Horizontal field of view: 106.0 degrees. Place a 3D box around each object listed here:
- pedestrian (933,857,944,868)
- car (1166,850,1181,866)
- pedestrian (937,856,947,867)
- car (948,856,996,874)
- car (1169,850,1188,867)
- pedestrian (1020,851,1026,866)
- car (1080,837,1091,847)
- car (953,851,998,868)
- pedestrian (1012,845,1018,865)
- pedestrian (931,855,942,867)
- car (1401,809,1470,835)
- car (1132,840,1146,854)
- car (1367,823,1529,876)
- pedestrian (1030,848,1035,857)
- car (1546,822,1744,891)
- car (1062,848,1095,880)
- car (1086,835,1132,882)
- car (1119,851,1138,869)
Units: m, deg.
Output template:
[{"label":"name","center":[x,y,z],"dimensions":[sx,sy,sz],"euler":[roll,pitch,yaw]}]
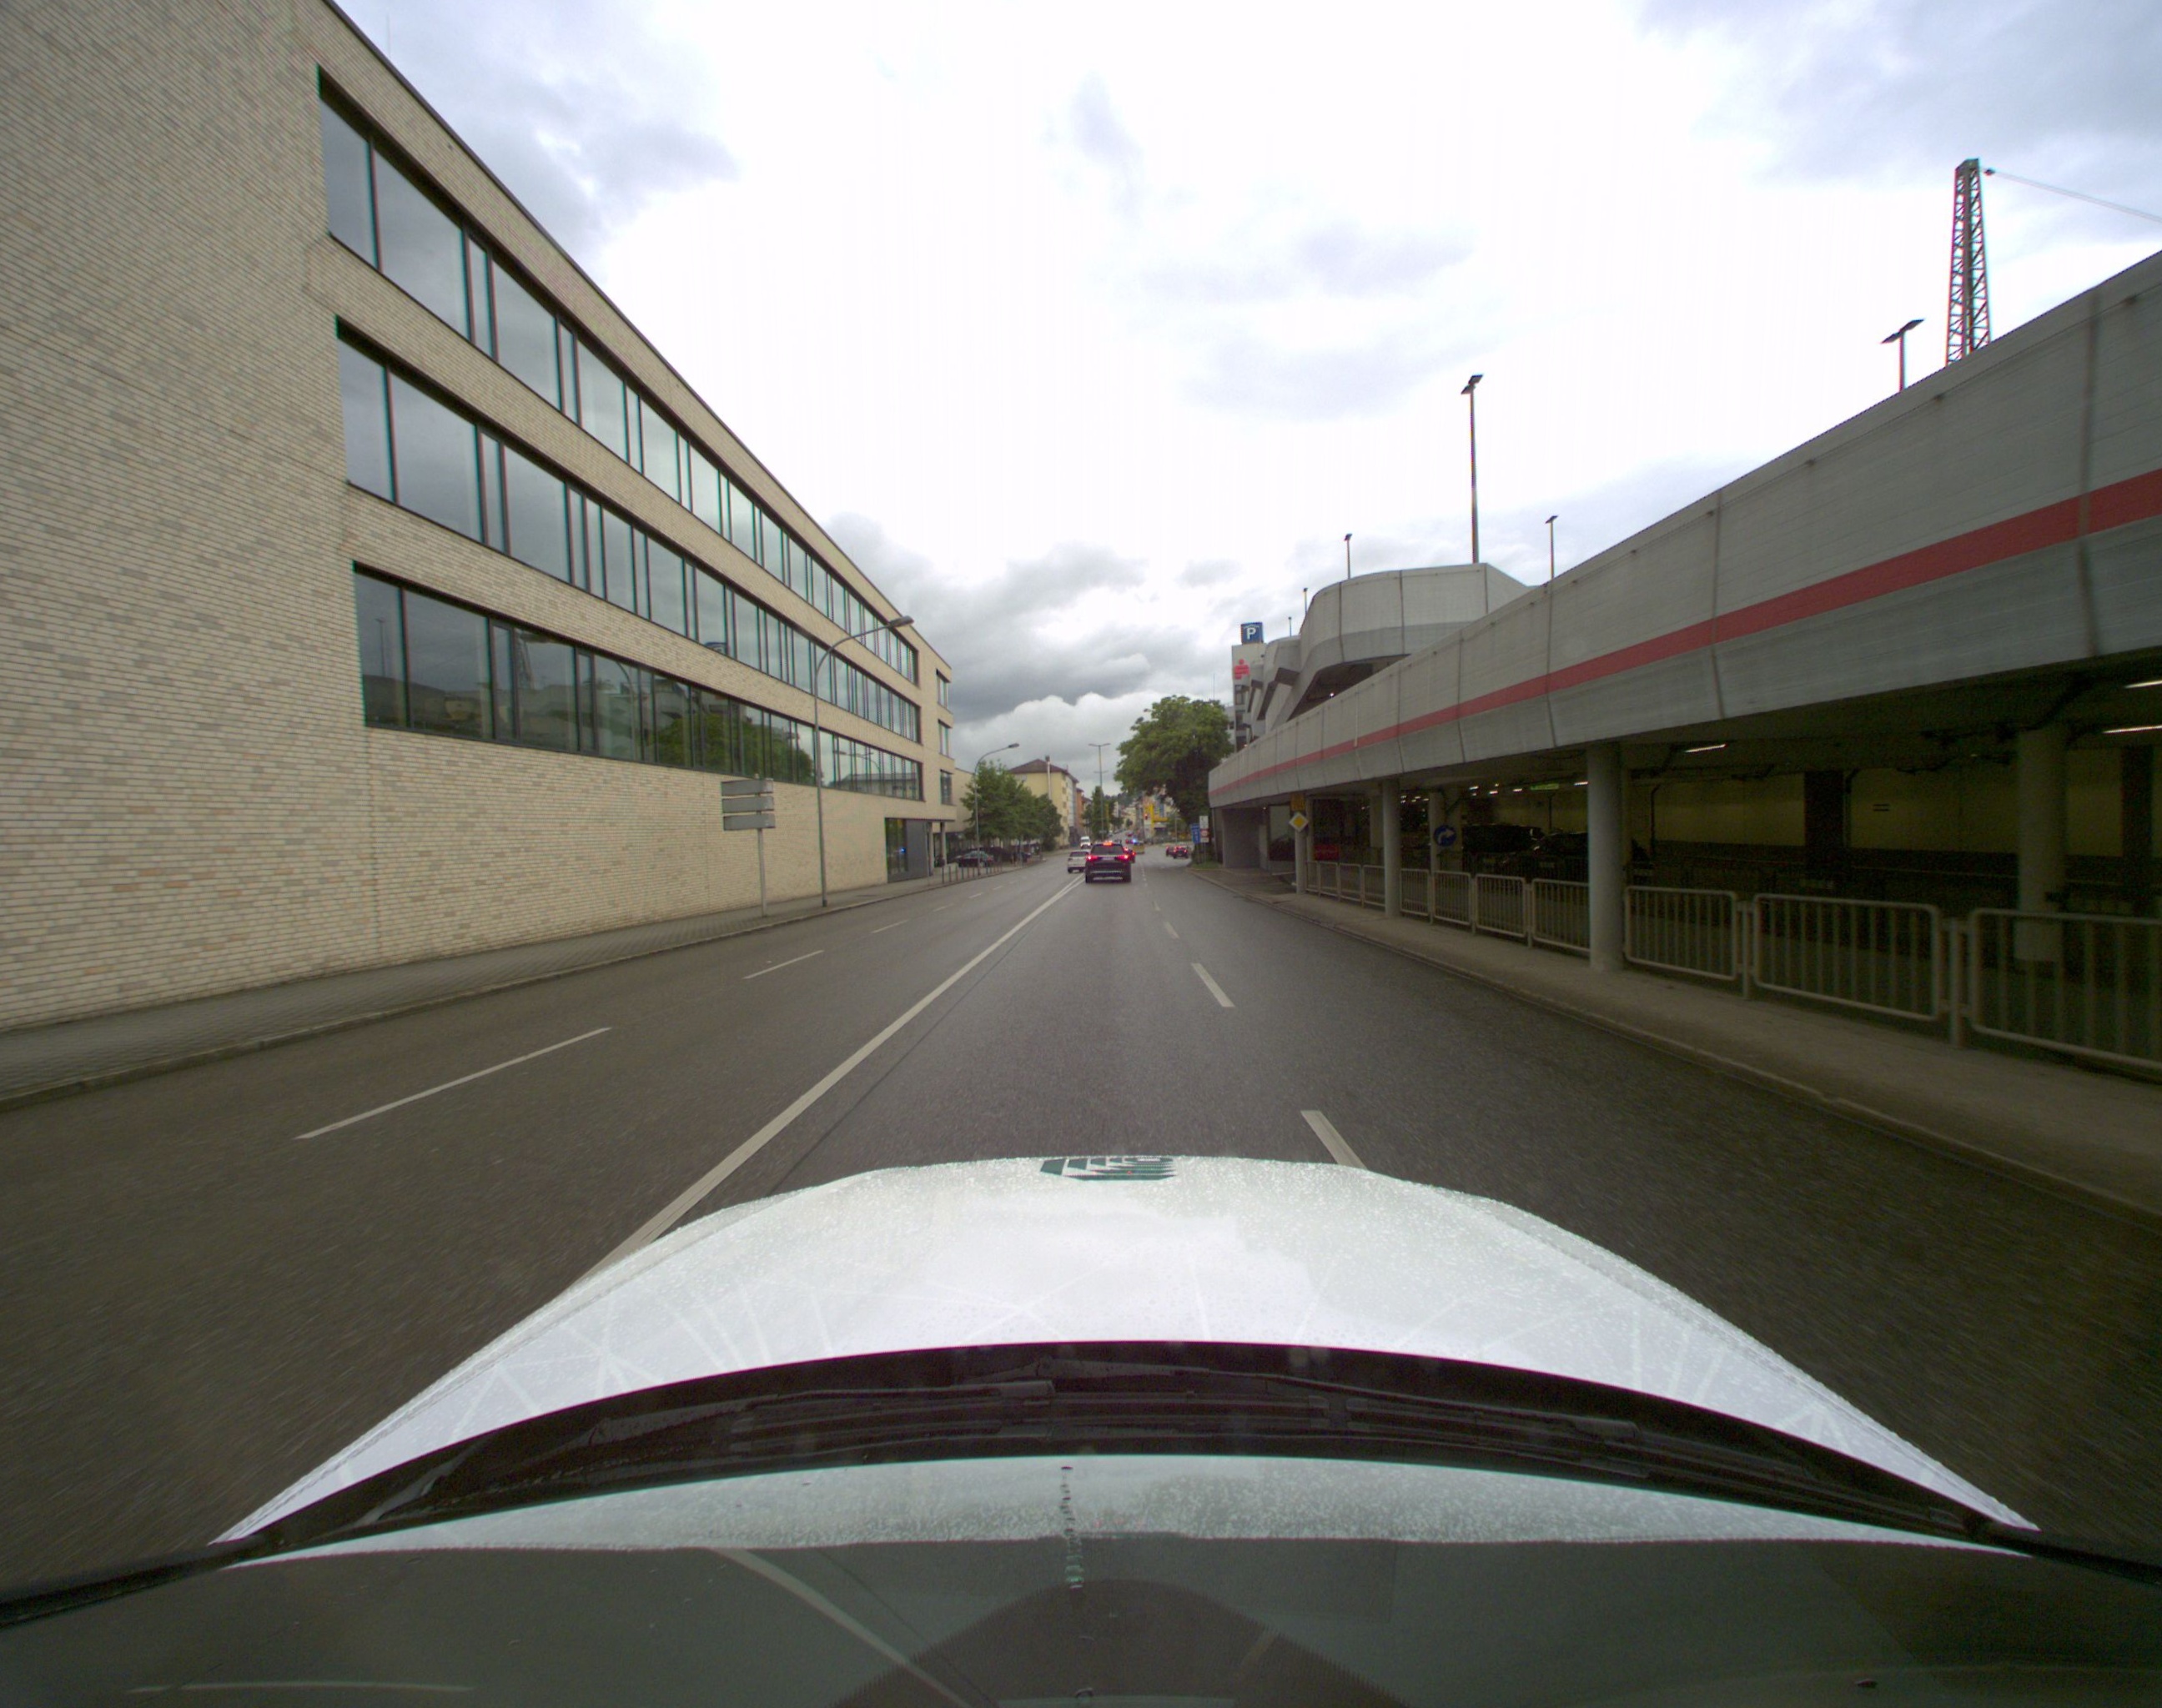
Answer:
[{"label":"pedestrian","center":[-10.771,0.644,61.610],"dimensions":[0.595,0.786,0.761],"euler":[0,-1,3]},{"label":"car","center":[12.862,0.555,113.486],"dimensions":[1.984,2.128,4.006],"euler":[0,0,6]},{"label":"pedestrian","center":[-10.641,0.561,62.545],"dimensions":[0.584,0.845,0.728],"euler":[-1,-1,3]},{"label":"car","center":[-10.706,1.075,80.527],"dimensions":[4.458,1.587,1.998],"euler":[-3,0,-3]},{"label":"car","center":[12.183,0.531,101.652],"dimensions":[1.986,2.013,4.002],"euler":[-1,1,2]},{"label":"pedestrian","center":[-7.070,0.558,99.315],"dimensions":[0.686,1.726,0.754],"euler":[0,-3,3]},{"label":"car","center":[0.958,-2.538,170.426],"dimensions":[1.986,1.875,5.144],"euler":[0,0,2]},{"label":"car","center":[-10.692,0.572,82.819],"dimensions":[4.405,1.573,1.999],"euler":[0,2,-2]},{"label":"pedestrian","center":[-6.869,0.117,84.900],"dimensions":[0.585,2.014,0.749],"euler":[0,-1,1]},{"label":"pedestrian","center":[-10.880,0.544,61.195],"dimensions":[0.678,0.886,0.525],"euler":[0,-1,3]},{"label":"car","center":[23.908,-2.124,55.002],"dimensions":[3.960,1.640,2.007],"euler":[0,0,12]},{"label":"car","center":[8.783,-1.093,122.909],"dimensions":[1.986,2.014,4.002],"euler":[0,0,2]},{"label":"car","center":[11.679,-0.131,26.239],"dimensions":[4.542,1.640,1.829],"euler":[0,-1,14]},{"label":"pedestrian","center":[-7.982,-0.303,133.285],"dimensions":[0.708,1.462,0.599],"euler":[0,-1,2]},{"label":"car","center":[14.214,0.046,20.725],"dimensions":[3.699,1.505,1.813],"euler":[-3,1,10]},{"label":"car","center":[-0.147,0.661,53.646],"dimensions":[1.986,2.014,4.002],"euler":[0,0,2]},{"label":"car","center":[1.280,0.220,37.031],"dimensions":[1.986,2.014,4.002],"euler":[0,0,2]},{"label":"car","center":[4.628,0.617,79.150],"dimensions":[1.697,1.716,3.443],"euler":[0,0,0]}]
